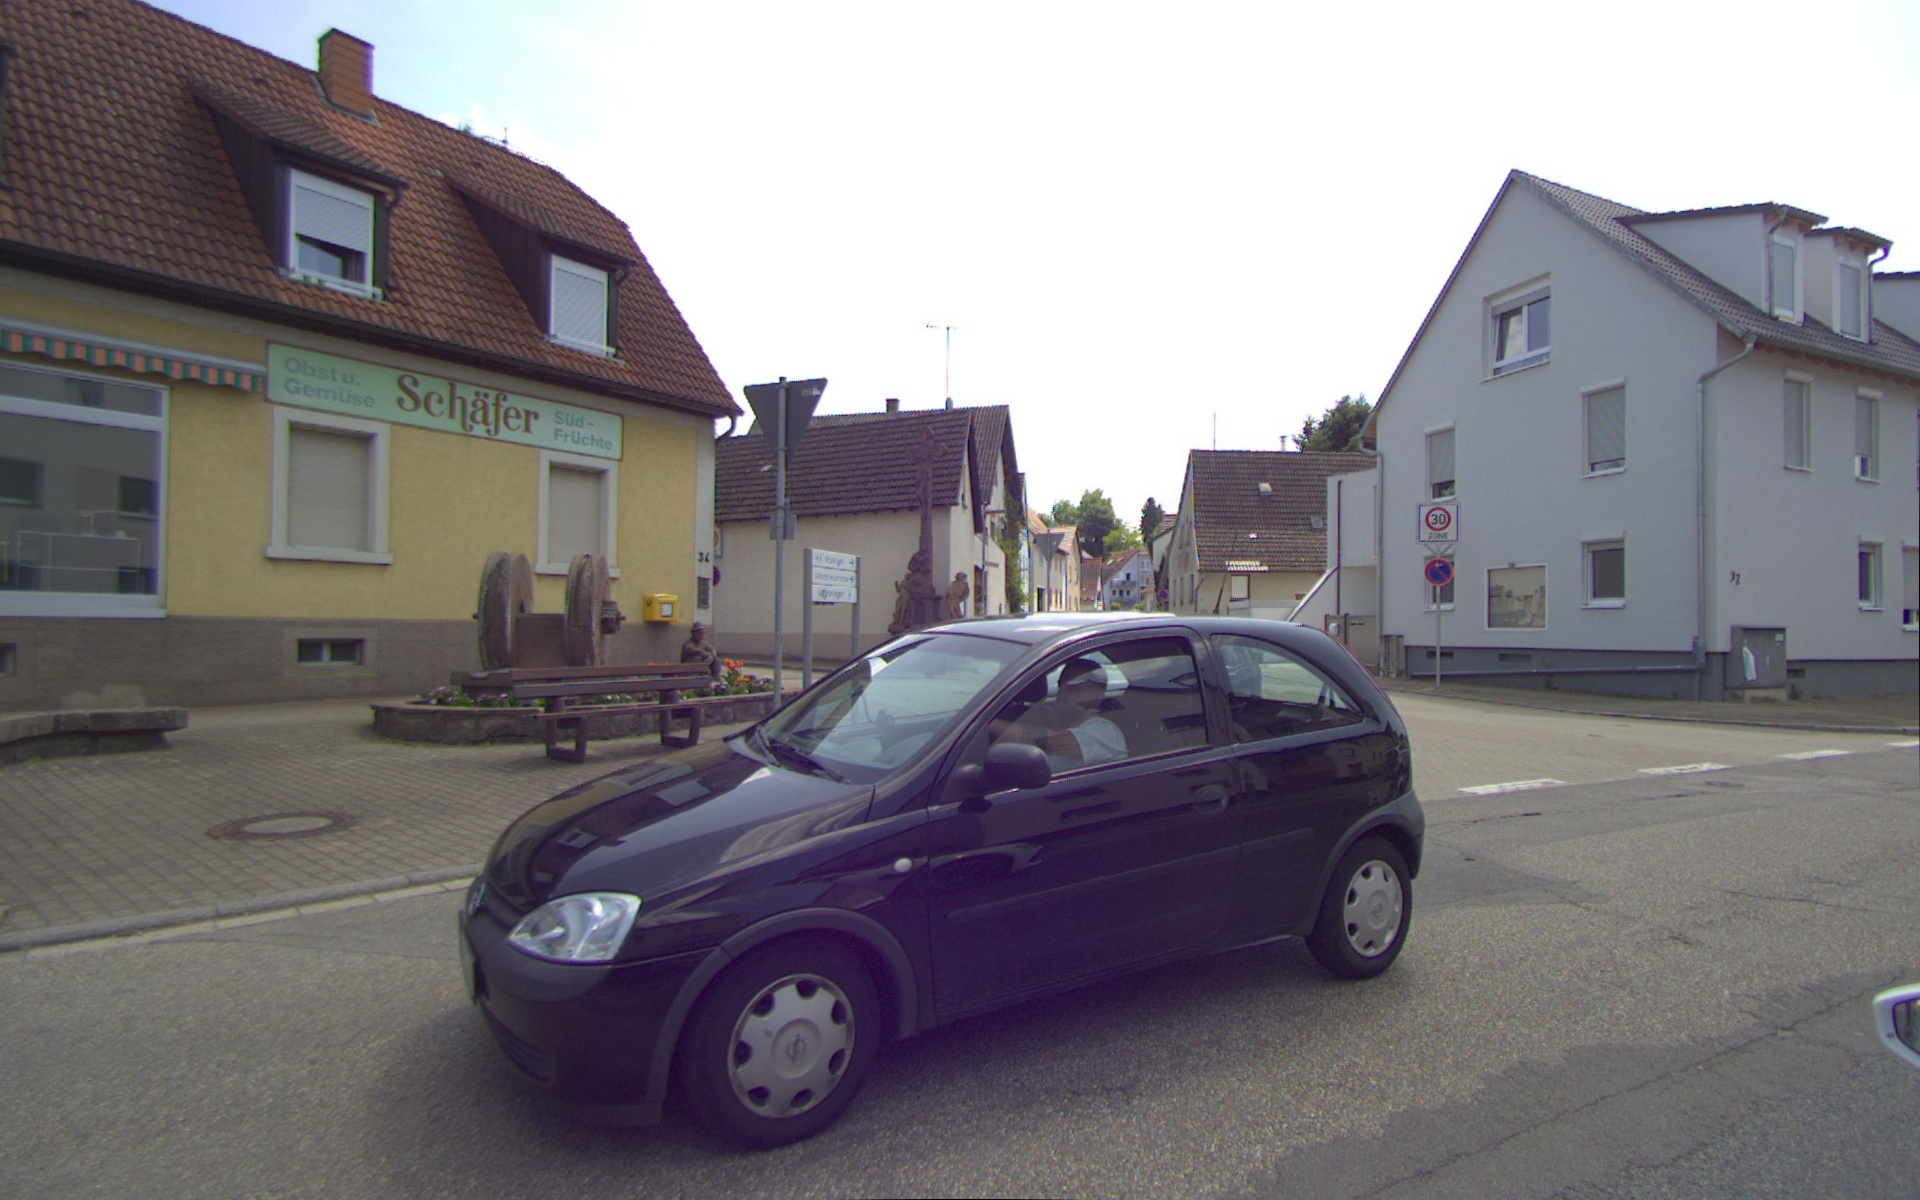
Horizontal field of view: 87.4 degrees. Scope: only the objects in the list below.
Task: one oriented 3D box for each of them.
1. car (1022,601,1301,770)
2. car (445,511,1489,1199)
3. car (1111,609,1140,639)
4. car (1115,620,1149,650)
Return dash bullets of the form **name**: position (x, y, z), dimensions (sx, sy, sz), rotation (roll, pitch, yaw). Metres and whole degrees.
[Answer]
- **car**: position (2.476, 0.849, 11.218), dimensions (1.781, 1.430, 4.631), rotation (1, -2, 28)
- **car**: position (0.233, 0.687, 3.888), dimensions (3.814, 1.560, 1.492), rotation (3, -2, -32)
- **car**: position (9.919, 1.466, 60.463), dimensions (1.369, 1.656, 3.478), rotation (2, -2, 4)
- **car**: position (9.385, 1.909, 54.868), dimensions (1.461, 1.550, 3.478), rotation (2, -2, 4)
